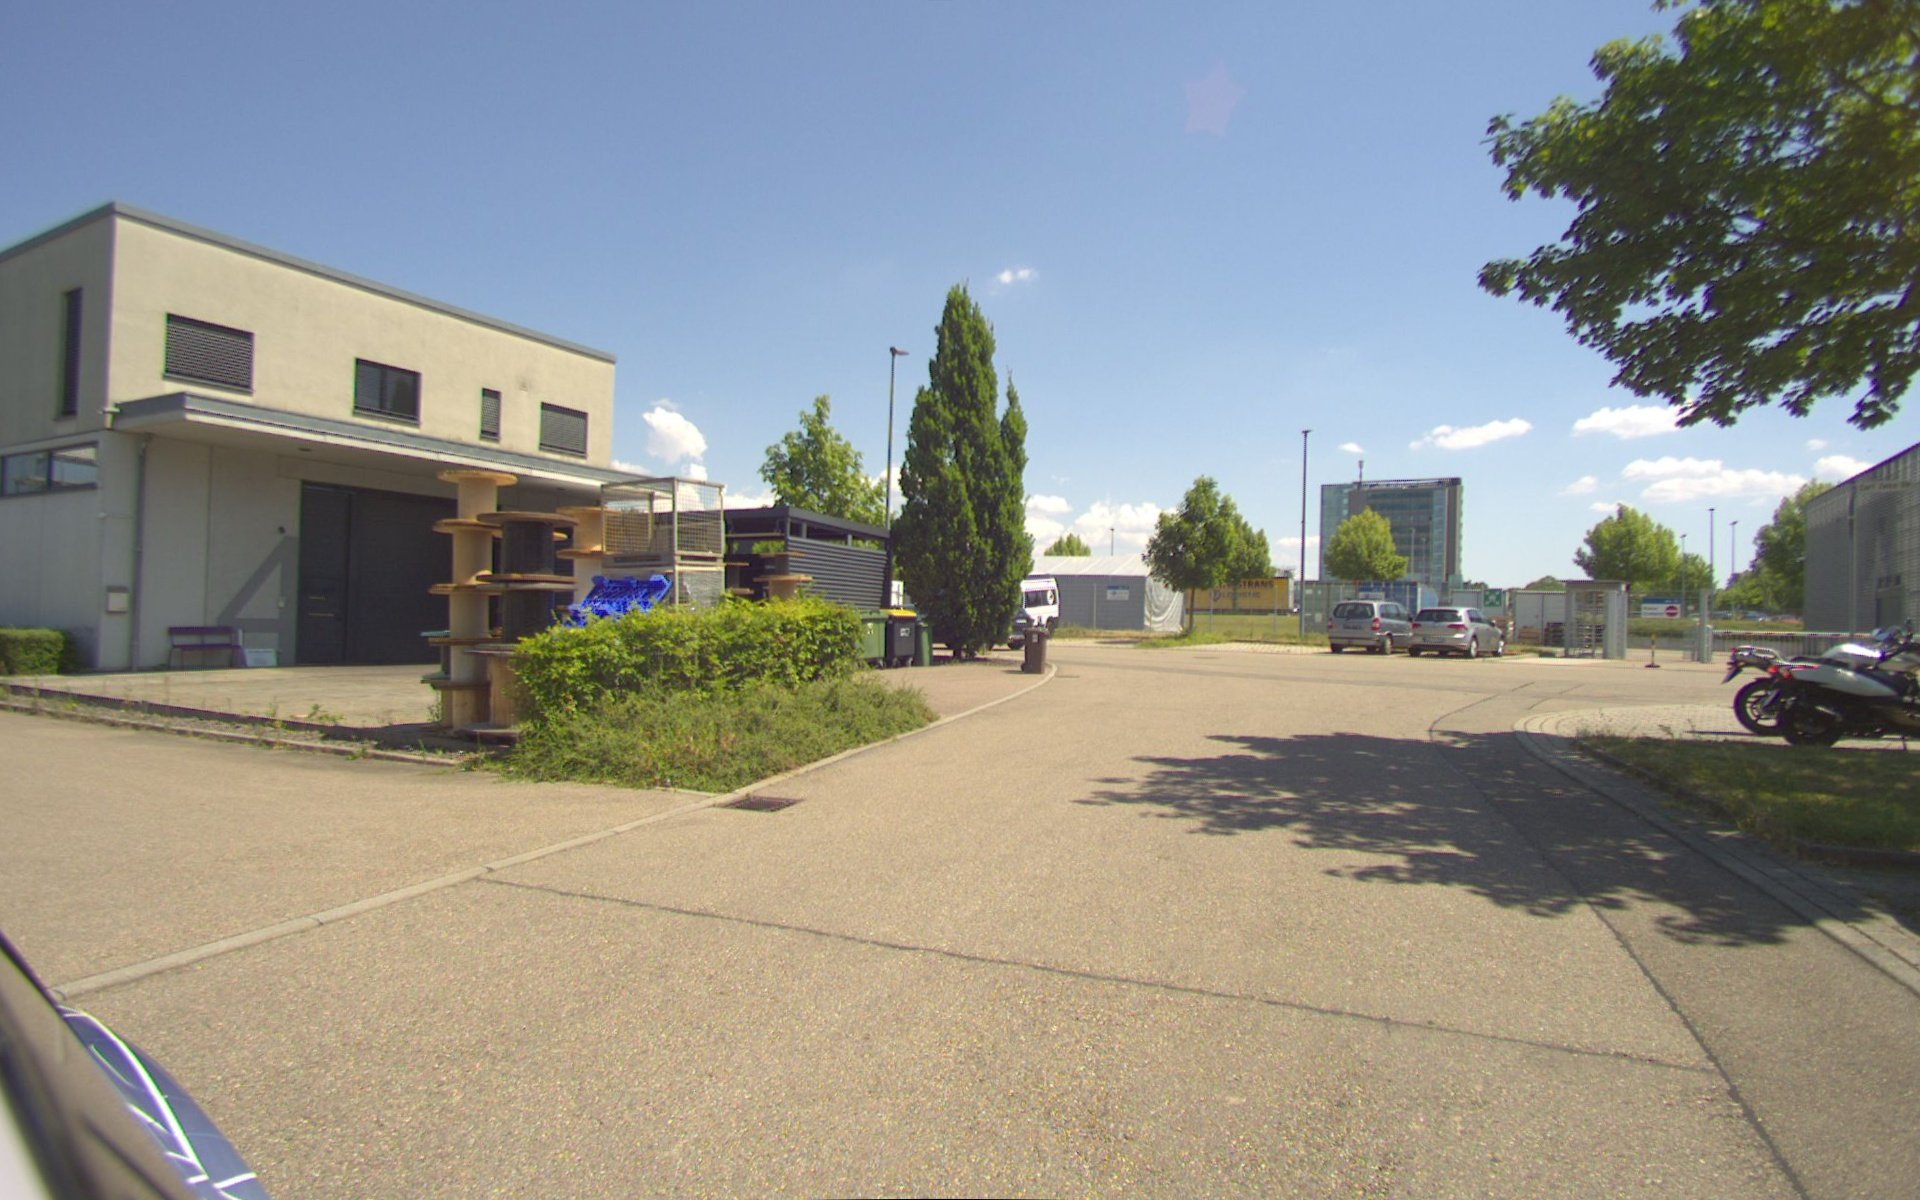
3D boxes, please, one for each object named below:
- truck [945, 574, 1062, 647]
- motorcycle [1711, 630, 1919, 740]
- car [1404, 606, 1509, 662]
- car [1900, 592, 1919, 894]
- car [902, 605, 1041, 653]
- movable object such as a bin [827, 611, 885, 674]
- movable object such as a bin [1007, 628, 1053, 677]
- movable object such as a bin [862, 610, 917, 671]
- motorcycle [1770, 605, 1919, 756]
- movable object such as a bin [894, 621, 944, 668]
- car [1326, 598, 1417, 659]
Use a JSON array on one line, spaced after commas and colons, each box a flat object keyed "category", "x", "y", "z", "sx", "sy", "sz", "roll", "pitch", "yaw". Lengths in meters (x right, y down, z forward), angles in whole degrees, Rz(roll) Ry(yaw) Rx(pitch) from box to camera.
[{"category": "truck", "x": 1.850, "y": 0.424, "z": 40.443, "sx": 2.409, "sy": 2.692, "sz": 5.640, "roll": 0, "pitch": -1, "yaw": 30}, {"category": "motorcycle", "x": 9.398, "y": 0.897, "z": 10.944, "sx": 1.976, "sy": 1.117, "sz": 0.481, "roll": 0, "pitch": -1, "yaw": 22}, {"category": "car", "x": 14.513, "y": 0.946, "z": 29.510, "sx": 1.653, "sy": 1.533, "sz": 3.942, "roll": 0, "pitch": -1, "yaw": 44}, {"category": "car", "x": 6.190, "y": 0.692, "z": 3.558, "sx": 3.866, "sy": 1.459, "sz": 1.640, "roll": 0, "pitch": -1, "yaw": 22}, {"category": "car", "x": 0.374, "y": 0.930, "z": 33.683, "sx": 4.244, "sy": 1.525, "sz": 1.939, "roll": 0, "pitch": -1, "yaw": 32}, {"category": "movable object such as a bin", "x": -2.269, "y": 0.908, "z": 22.095, "sx": 0.758, "sy": 1.346, "sz": 1.060, "roll": 0, "pitch": -1, "yaw": 34}, {"category": "movable object such as a bin", "x": 1.454, "y": 1.080, "z": 21.040, "sx": 0.758, "sy": 0.977, "sz": 0.583, "roll": 0, "pitch": -1, "yaw": 35}, {"category": "movable object such as a bin", "x": -1.613, "y": 0.909, "z": 23.264, "sx": 0.758, "sy": 1.346, "sz": 1.060, "roll": 0, "pitch": -1, "yaw": 34}, {"category": "motorcycle", "x": 8.992, "y": 0.744, "z": 9.588, "sx": 1.976, "sy": 1.400, "sz": 0.481, "roll": 0, "pitch": -1, "yaw": 22}, {"category": "movable object such as a bin", "x": -0.975, "y": 1.046, "z": 24.152, "sx": 0.758, "sy": 1.092, "sz": 0.976, "roll": 0, "pitch": -1, "yaw": 34}, {"category": "car", "x": 12.789, "y": 0.836, "z": 31.330, "sx": 1.768, "sy": 1.751, "sz": 3.952, "roll": 0, "pitch": 0, "yaw": 35}]
